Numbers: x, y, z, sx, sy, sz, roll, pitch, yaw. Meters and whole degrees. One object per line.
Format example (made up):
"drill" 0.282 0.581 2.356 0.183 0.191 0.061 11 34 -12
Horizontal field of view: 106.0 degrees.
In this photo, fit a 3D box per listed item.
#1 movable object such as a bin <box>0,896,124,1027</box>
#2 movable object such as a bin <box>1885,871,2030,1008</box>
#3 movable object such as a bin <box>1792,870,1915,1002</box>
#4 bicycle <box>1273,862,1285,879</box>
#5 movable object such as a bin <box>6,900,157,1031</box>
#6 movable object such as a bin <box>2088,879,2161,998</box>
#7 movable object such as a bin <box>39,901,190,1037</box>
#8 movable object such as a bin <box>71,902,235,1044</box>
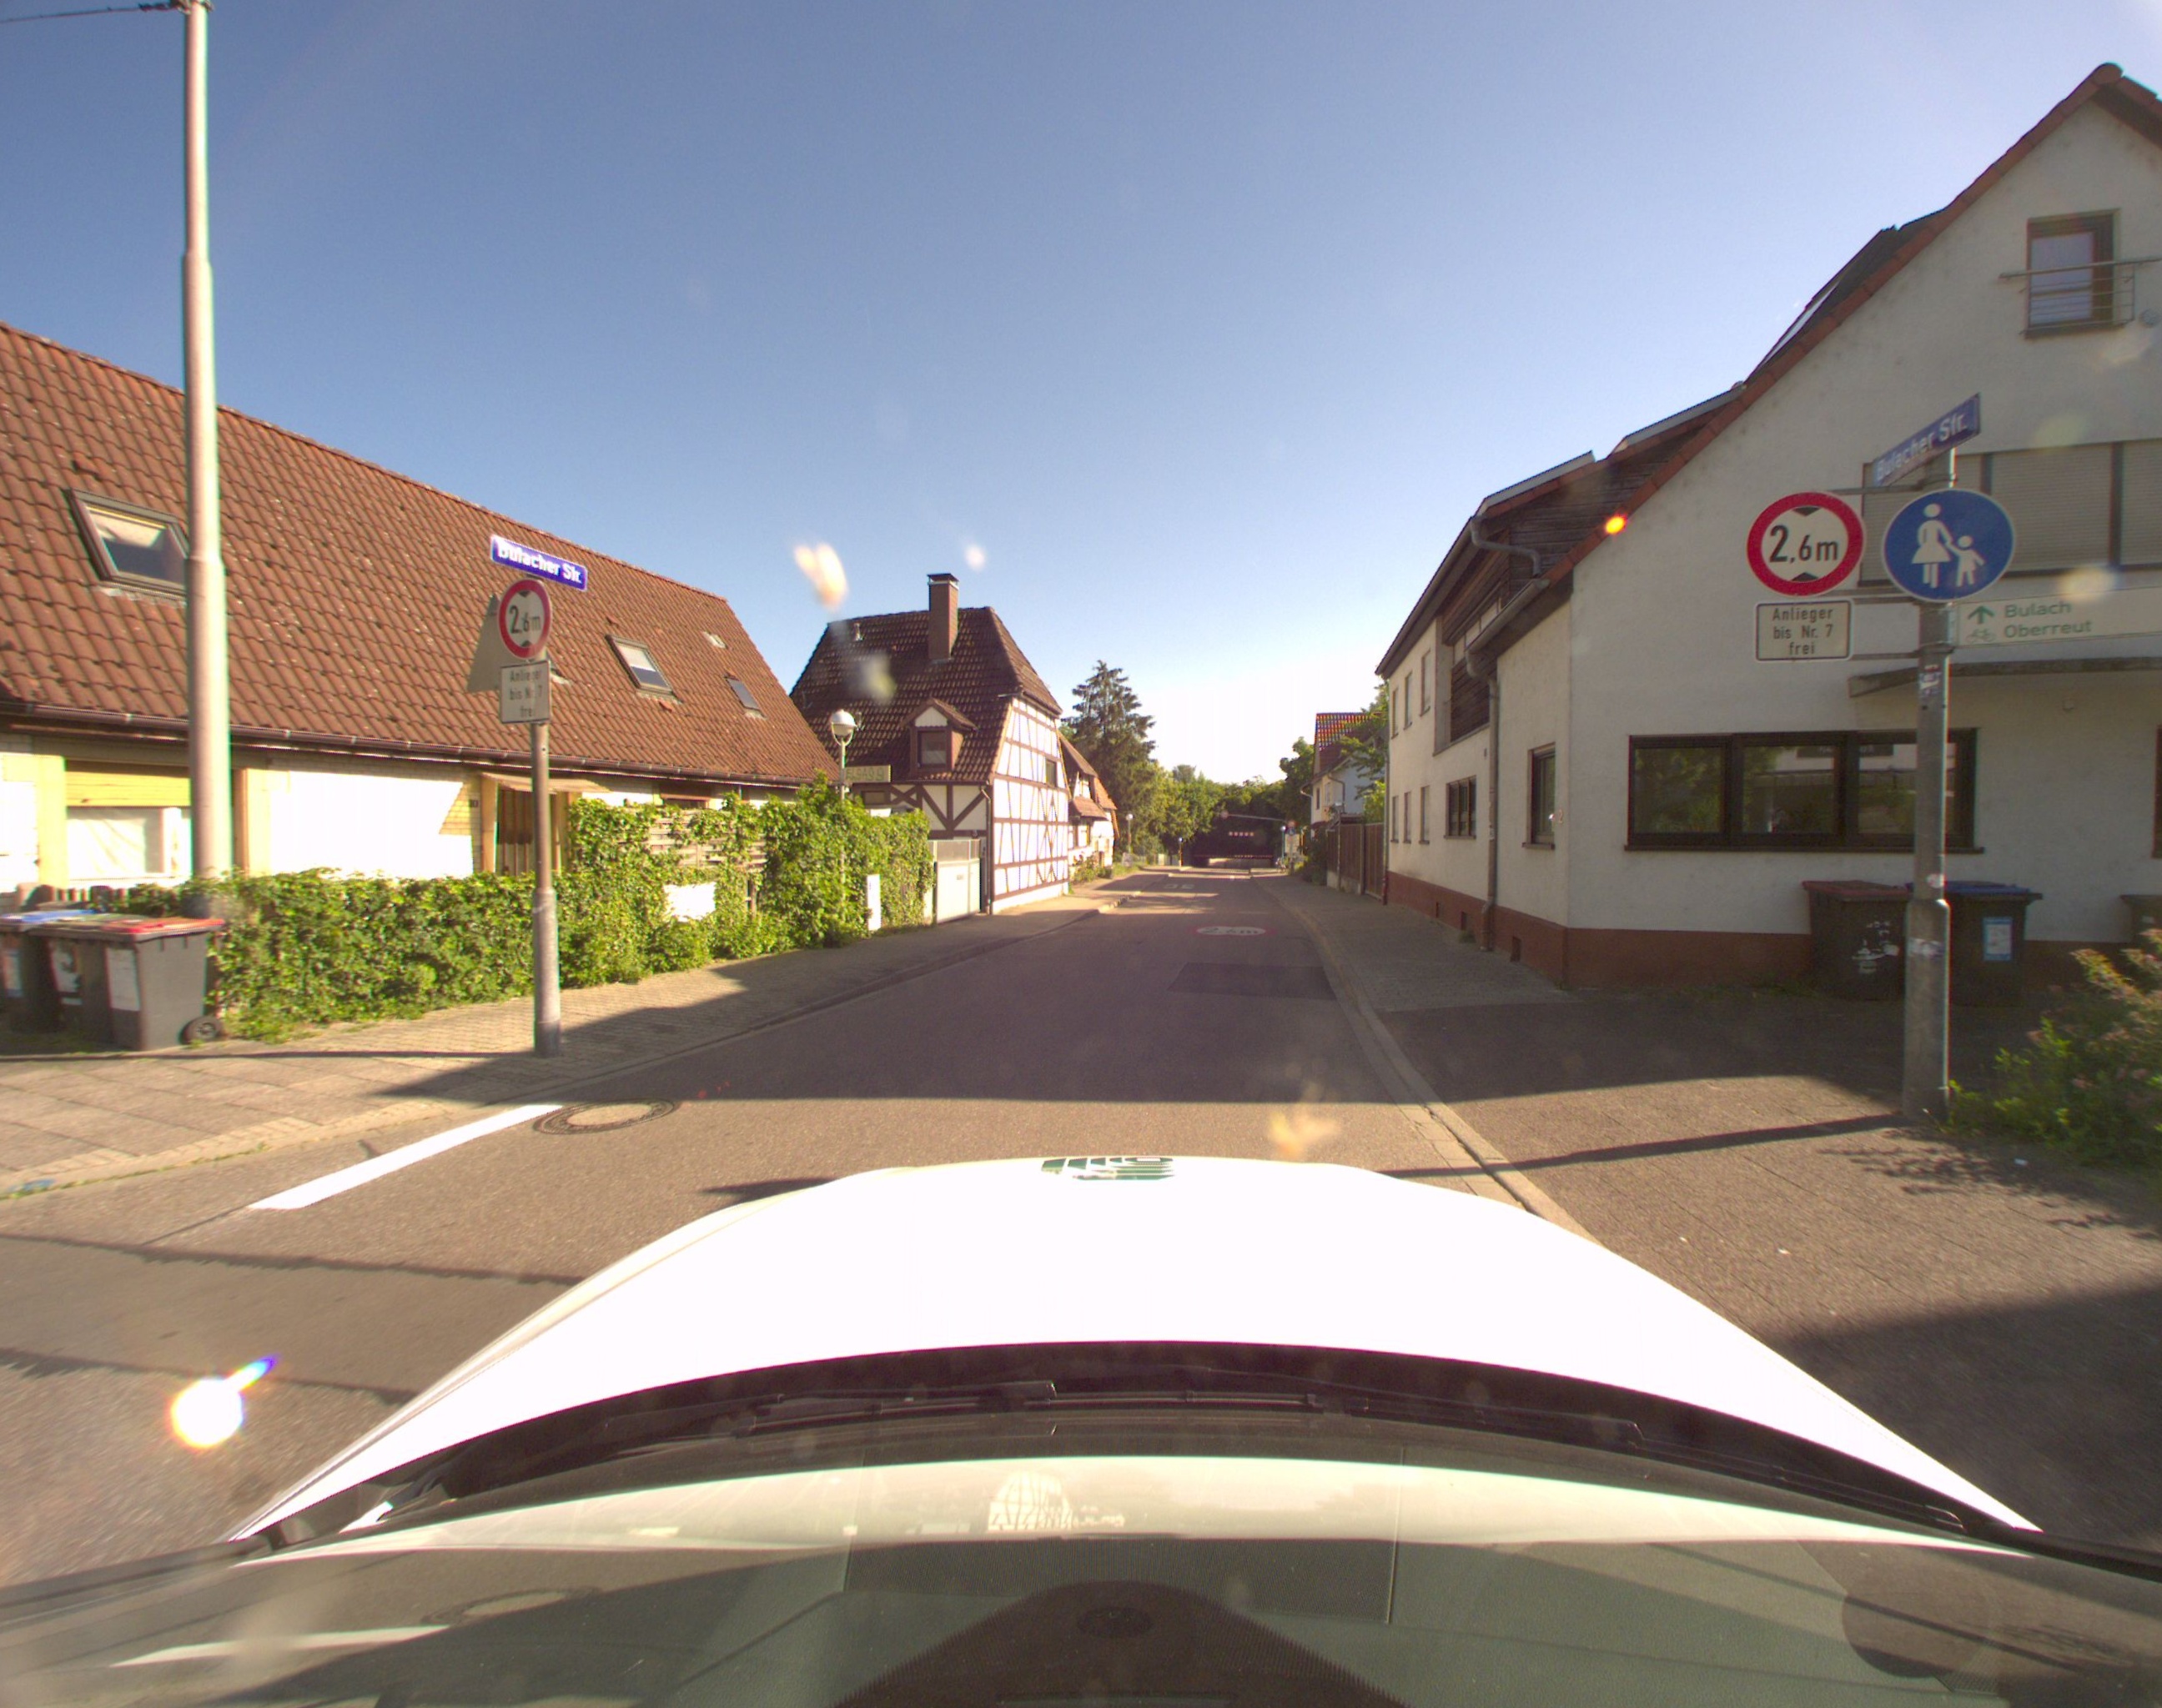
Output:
"movable object such as a bin" -8.209 0.826 6.474 0.503 0.924 0.628 1 1 18
"movable object such as a bin" 7.808 0.734 7.289 0.523 1.122 0.750 1 1 10
"movable object such as a bin" 7.159 0.732 7.577 0.477 1.122 0.750 1 1 10
"bicycle" 14.223 1.205 58.602 0.684 1.157 1.544 -4 -1 10
"movable object such as a bin" -7.755 0.836 6.338 0.409 0.906 0.628 1 1 18
"movable object such as a bin" 9.489 0.735 7.131 0.526 0.983 0.671 1 1 10
"movable object such as a bin" -7.346 0.847 6.209 0.407 0.924 0.628 1 1 18
"movable object such as a bin" -6.857 0.848 6.034 0.551 0.924 0.628 1 1 18
